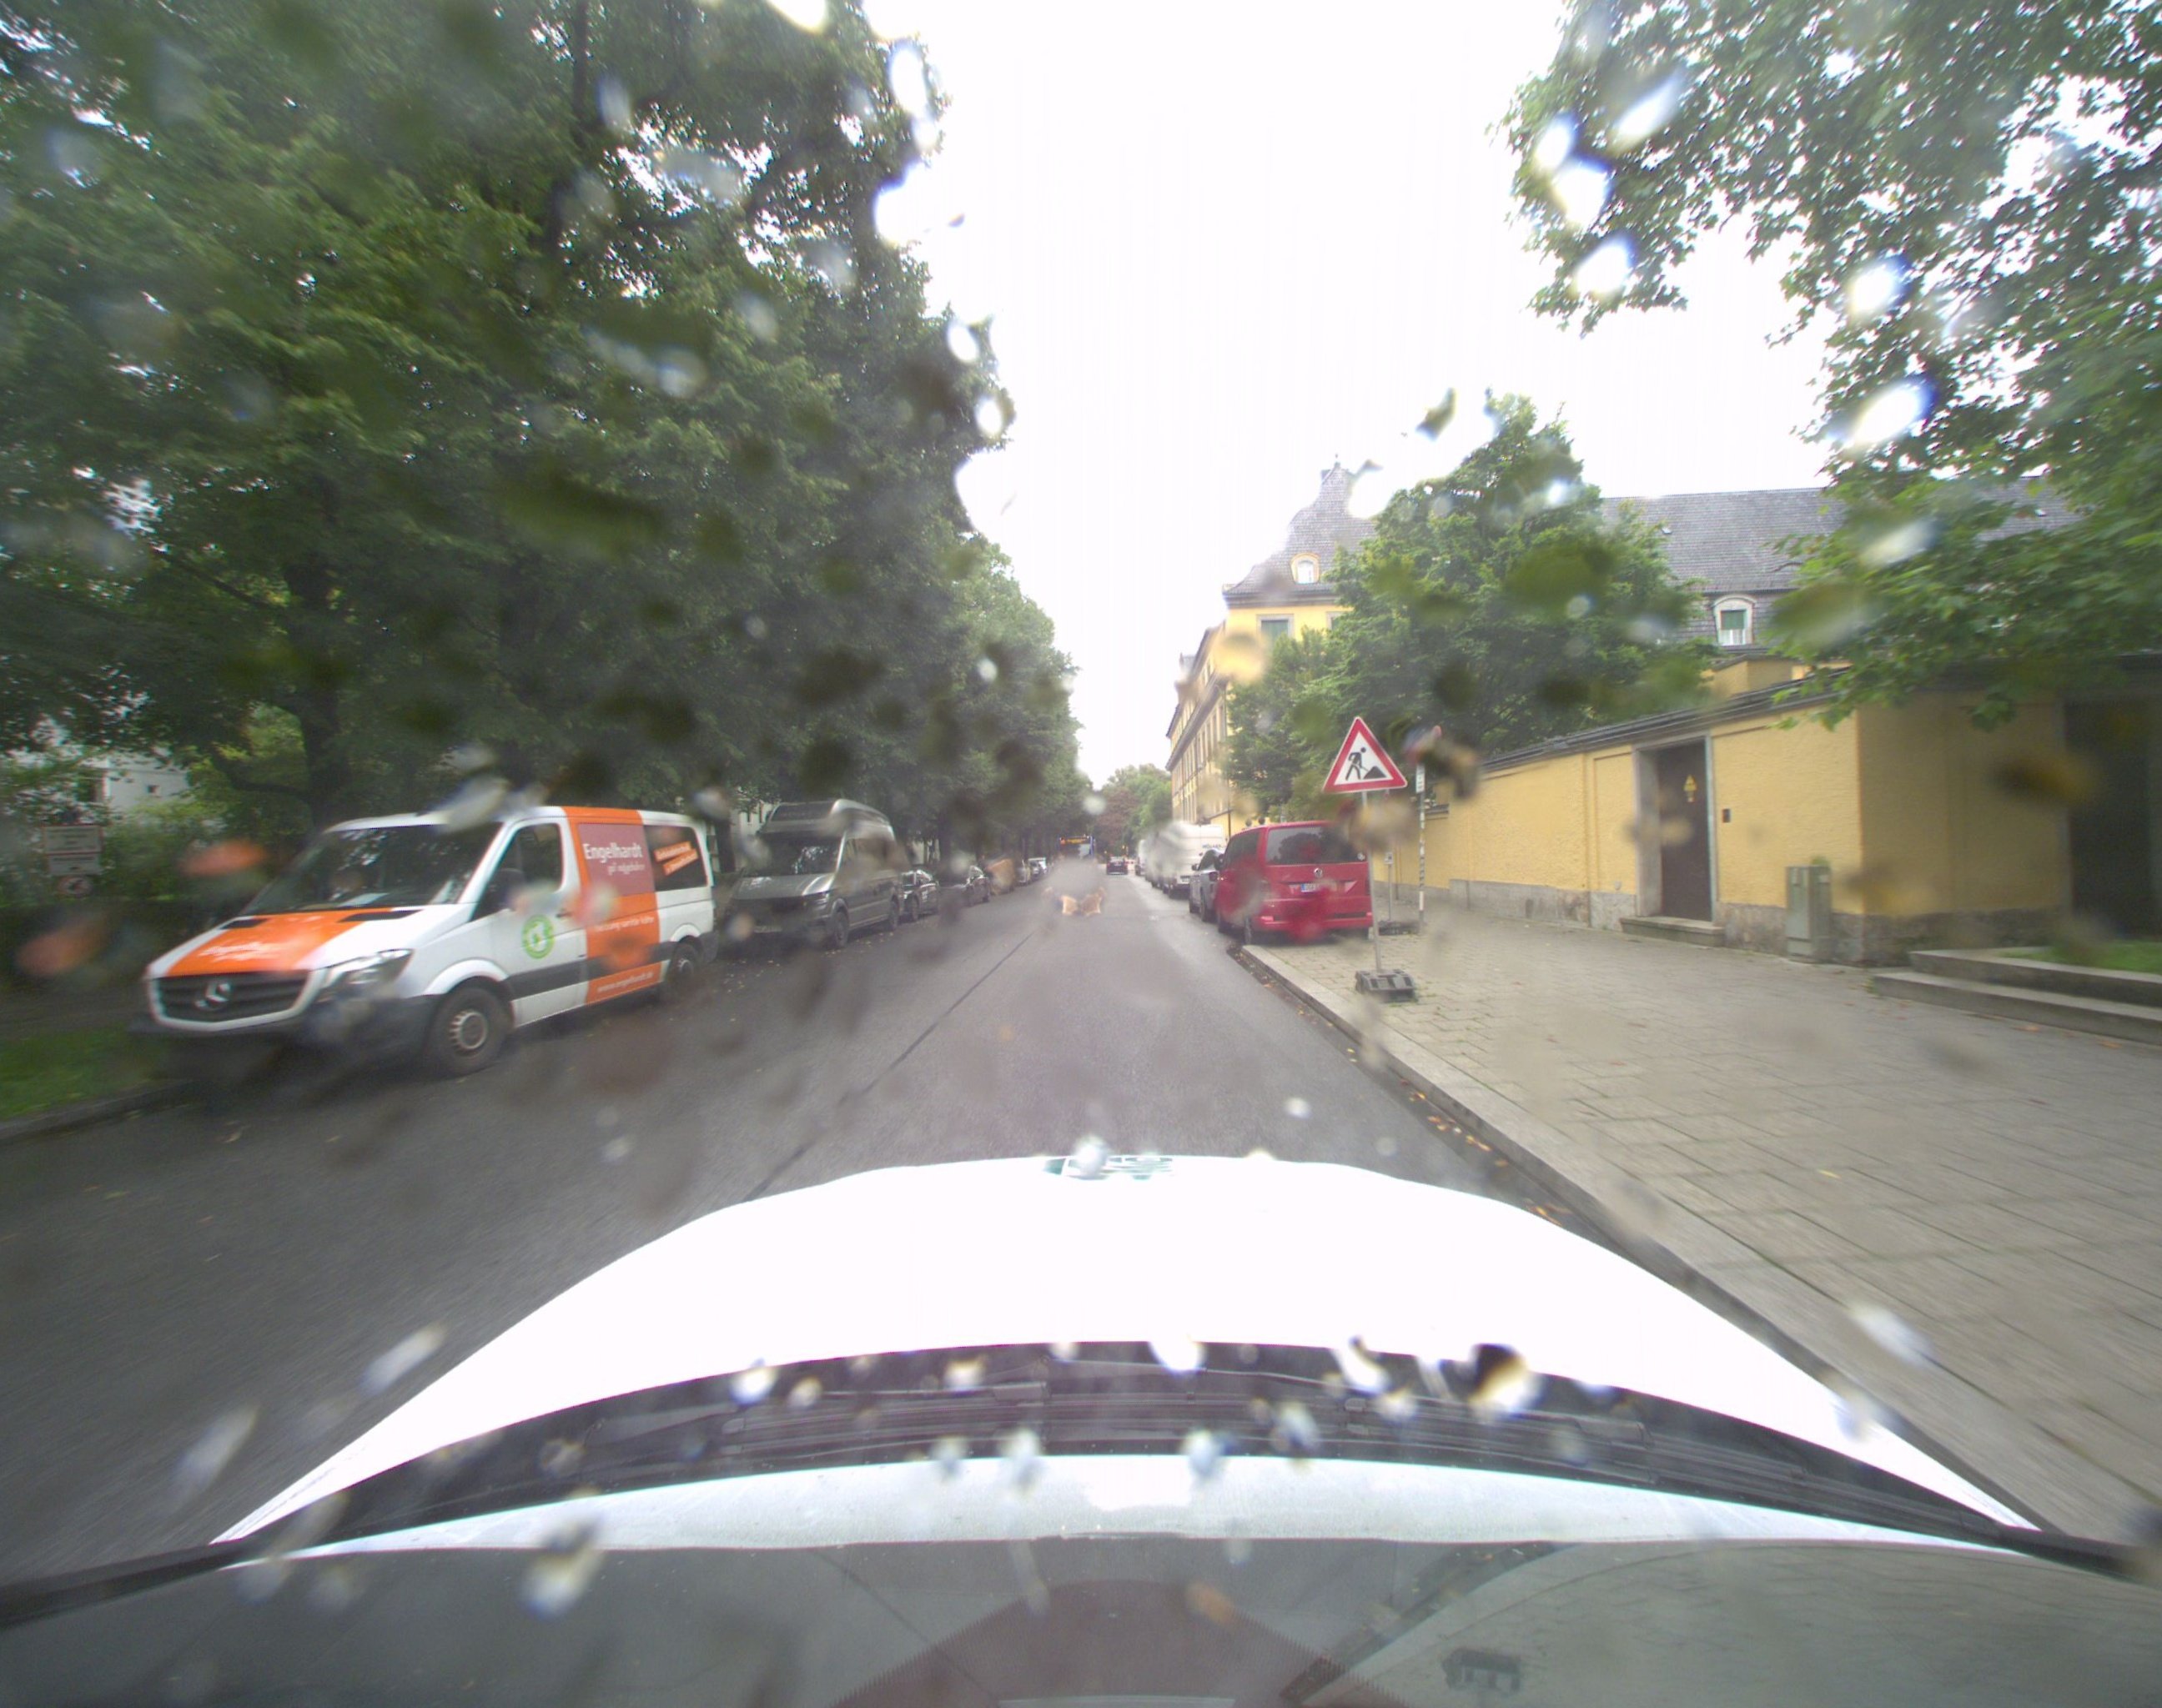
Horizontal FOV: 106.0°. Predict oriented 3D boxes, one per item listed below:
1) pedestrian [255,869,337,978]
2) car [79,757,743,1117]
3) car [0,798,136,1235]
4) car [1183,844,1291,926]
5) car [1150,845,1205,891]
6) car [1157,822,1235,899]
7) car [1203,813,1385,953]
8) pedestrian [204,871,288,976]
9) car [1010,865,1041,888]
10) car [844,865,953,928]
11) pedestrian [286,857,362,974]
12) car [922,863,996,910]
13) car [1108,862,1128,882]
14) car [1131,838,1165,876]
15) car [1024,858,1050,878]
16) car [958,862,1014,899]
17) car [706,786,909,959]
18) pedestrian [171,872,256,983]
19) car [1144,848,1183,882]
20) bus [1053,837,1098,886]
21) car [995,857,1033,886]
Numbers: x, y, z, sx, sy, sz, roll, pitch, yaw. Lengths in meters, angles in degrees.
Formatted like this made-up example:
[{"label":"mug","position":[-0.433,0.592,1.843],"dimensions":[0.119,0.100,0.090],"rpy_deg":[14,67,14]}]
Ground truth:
[{"label":"pedestrian","position":[-11.817,1.032,12.275],"dimensions":[0.696,1.591,0.538],"rpy_deg":[-1,-1,3]},{"label":"car","position":[-5.660,0.608,8.199],"dimensions":[2.107,2.349,5.408],"rpy_deg":[-2,-1,1]},{"label":"car","position":[-5.889,0.777,1.433],"dimensions":[1.938,1.963,5.460],"rpy_deg":[-3,0,1]},{"label":"car","position":[3.620,0.677,19.681],"dimensions":[1.852,1.741,4.604],"rpy_deg":[-1,0,2]},{"label":"car","position":[4.336,0.621,37.262],"dimensions":[2.006,1.906,5.164],"rpy_deg":[-1,0,1]},{"label":"car","position":[4.074,0.266,29.946],"dimensions":[2.088,2.488,5.740],"rpy_deg":[-2,-1,1]},{"label":"car","position":[3.502,0.475,14.531],"dimensions":[1.852,1.967,5.445],"rpy_deg":[-2,-1,1]},{"label":"pedestrian","position":[-12.935,1.059,12.634],"dimensions":[0.628,1.551,0.640],"rpy_deg":[-1,-1,3]},{"label":"car","position":[-3.721,1.478,54.889],"dimensions":[1.666,1.469,4.104],"rpy_deg":[-2,-1,1]},{"label":"car","position":[-5.017,1.111,23.111],"dimensions":[1.782,1.438,4.582],"rpy_deg":[-2,0,3]},{"label":"pedestrian","position":[-12.160,0.970,13.095],"dimensions":[0.696,1.820,0.538],"rpy_deg":[-1,-1,3]},{"label":"car","position":[-4.177,1.100,28.573],"dimensions":[1.784,1.438,4.551],"rpy_deg":[-2,-1,1]},{"label":"car","position":[3.083,1.454,67.918],"dimensions":[1.571,1.584,4.047],"rpy_deg":[-2,-1,3]},{"label":"car","position":[5.104,0.265,62.906],"dimensions":[2.047,2.673,7.614],"rpy_deg":[-2,-1,1]},{"label":"car","position":[-3.437,1.079,64.248],"dimensions":[1.666,1.469,4.104],"rpy_deg":[-2,-1,1]},{"label":"car","position":[-3.994,1.112,34.742],"dimensions":[1.784,1.454,3.949],"rpy_deg":[-2,-1,1]},{"label":"car","position":[-5.302,0.370,16.909],"dimensions":[1.938,2.854,6.236],"rpy_deg":[-2,-1,1]},{"label":"pedestrian","position":[-12.548,1.048,11.798],"dimensions":[0.643,1.548,0.538],"rpy_deg":[-1,-1,3]},{"label":"car","position":[4.860,0.646,48.716],"dimensions":[1.864,1.869,4.987],"rpy_deg":[-2,-1,1]},{"label":"bus","position":[-0.174,0.733,64.852],"dimensions":[2.849,3.239,18.430],"rpy_deg":[-2,-1,2]},{"label":"car","position":[-3.943,1.006,48.689],"dimensions":[1.778,1.597,4.584],"rpy_deg":[-2,-1,1]}]
